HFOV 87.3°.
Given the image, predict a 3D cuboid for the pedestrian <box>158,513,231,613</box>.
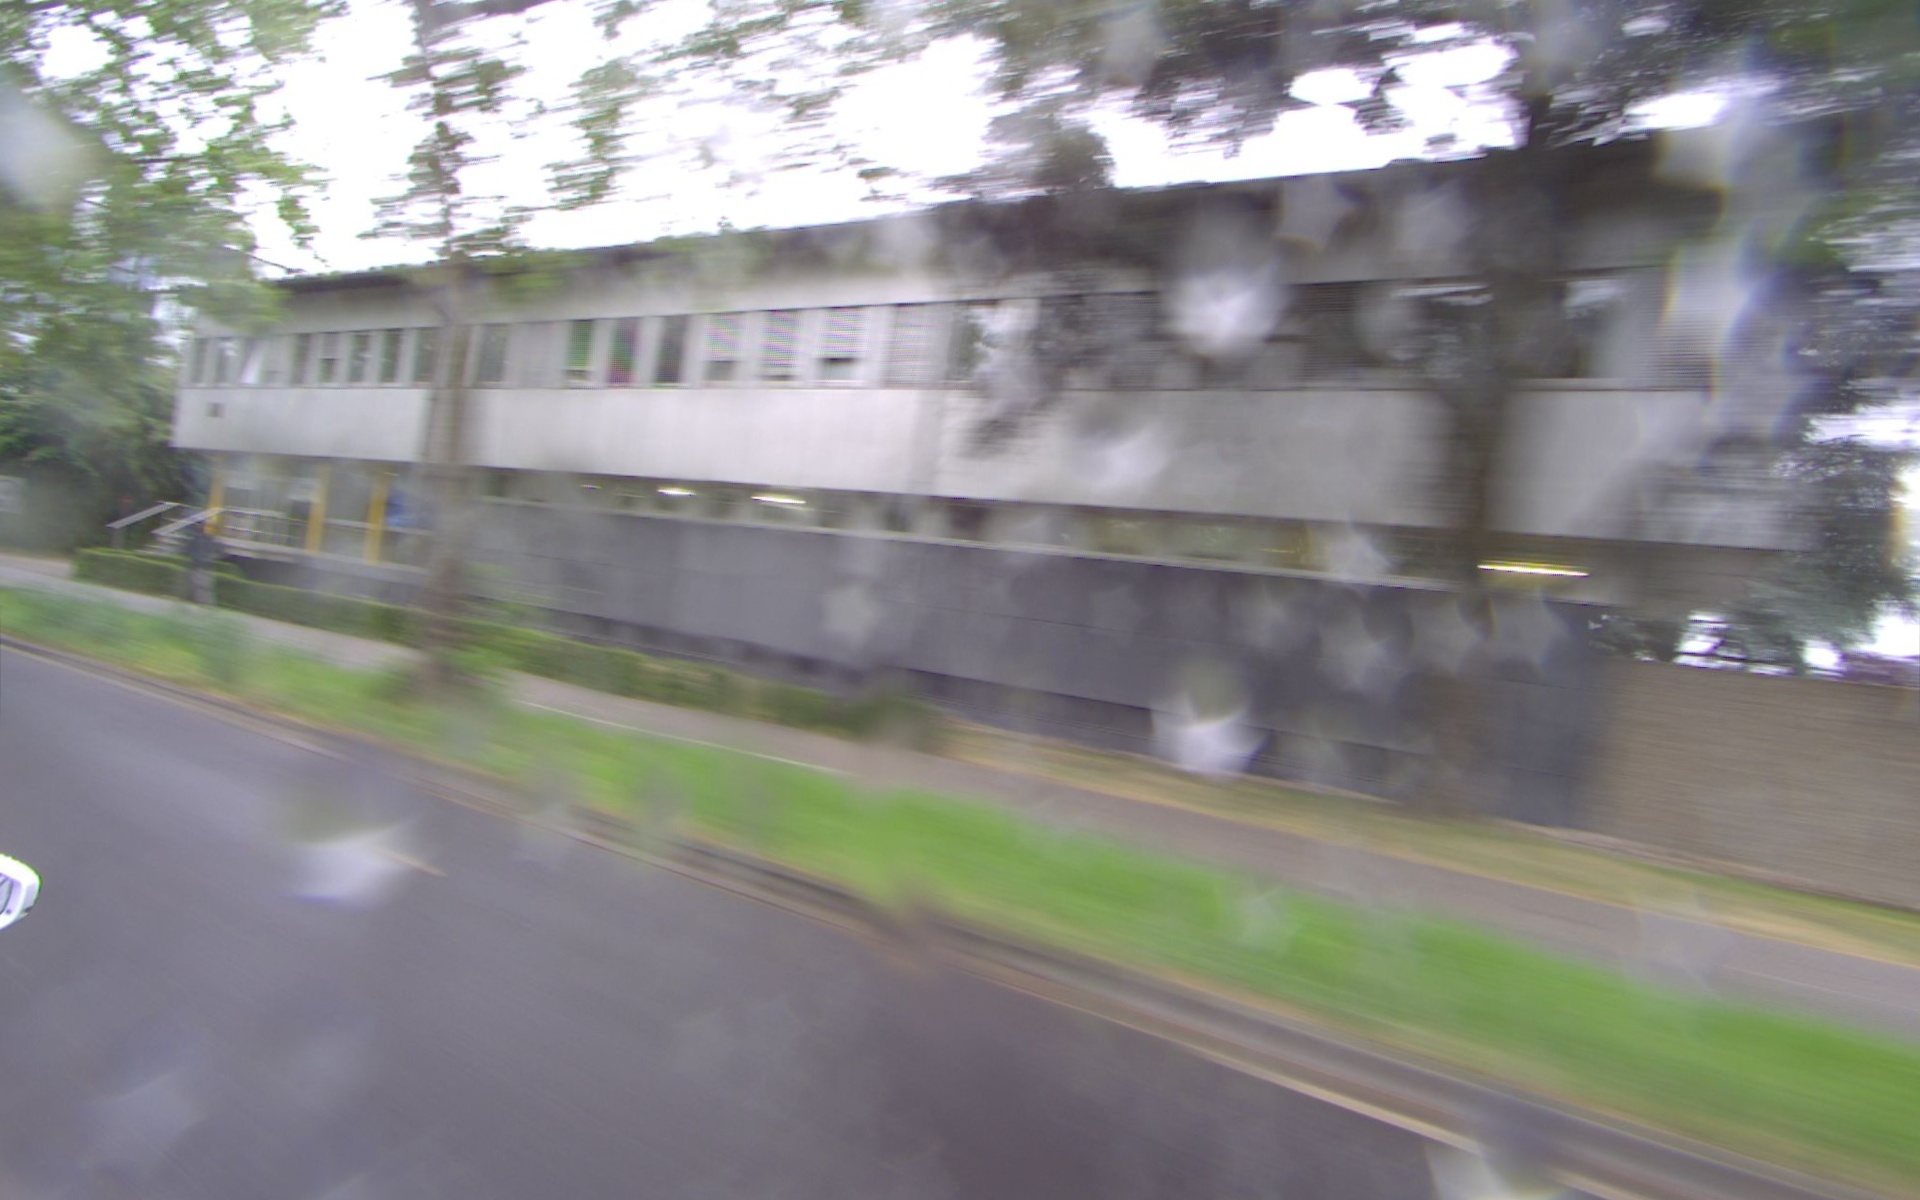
[{"bbox_3d":[-13.959,-0.664,18.366,0.664,1.687,0.820,9,-1,-23],"label":"pedestrian"}]
